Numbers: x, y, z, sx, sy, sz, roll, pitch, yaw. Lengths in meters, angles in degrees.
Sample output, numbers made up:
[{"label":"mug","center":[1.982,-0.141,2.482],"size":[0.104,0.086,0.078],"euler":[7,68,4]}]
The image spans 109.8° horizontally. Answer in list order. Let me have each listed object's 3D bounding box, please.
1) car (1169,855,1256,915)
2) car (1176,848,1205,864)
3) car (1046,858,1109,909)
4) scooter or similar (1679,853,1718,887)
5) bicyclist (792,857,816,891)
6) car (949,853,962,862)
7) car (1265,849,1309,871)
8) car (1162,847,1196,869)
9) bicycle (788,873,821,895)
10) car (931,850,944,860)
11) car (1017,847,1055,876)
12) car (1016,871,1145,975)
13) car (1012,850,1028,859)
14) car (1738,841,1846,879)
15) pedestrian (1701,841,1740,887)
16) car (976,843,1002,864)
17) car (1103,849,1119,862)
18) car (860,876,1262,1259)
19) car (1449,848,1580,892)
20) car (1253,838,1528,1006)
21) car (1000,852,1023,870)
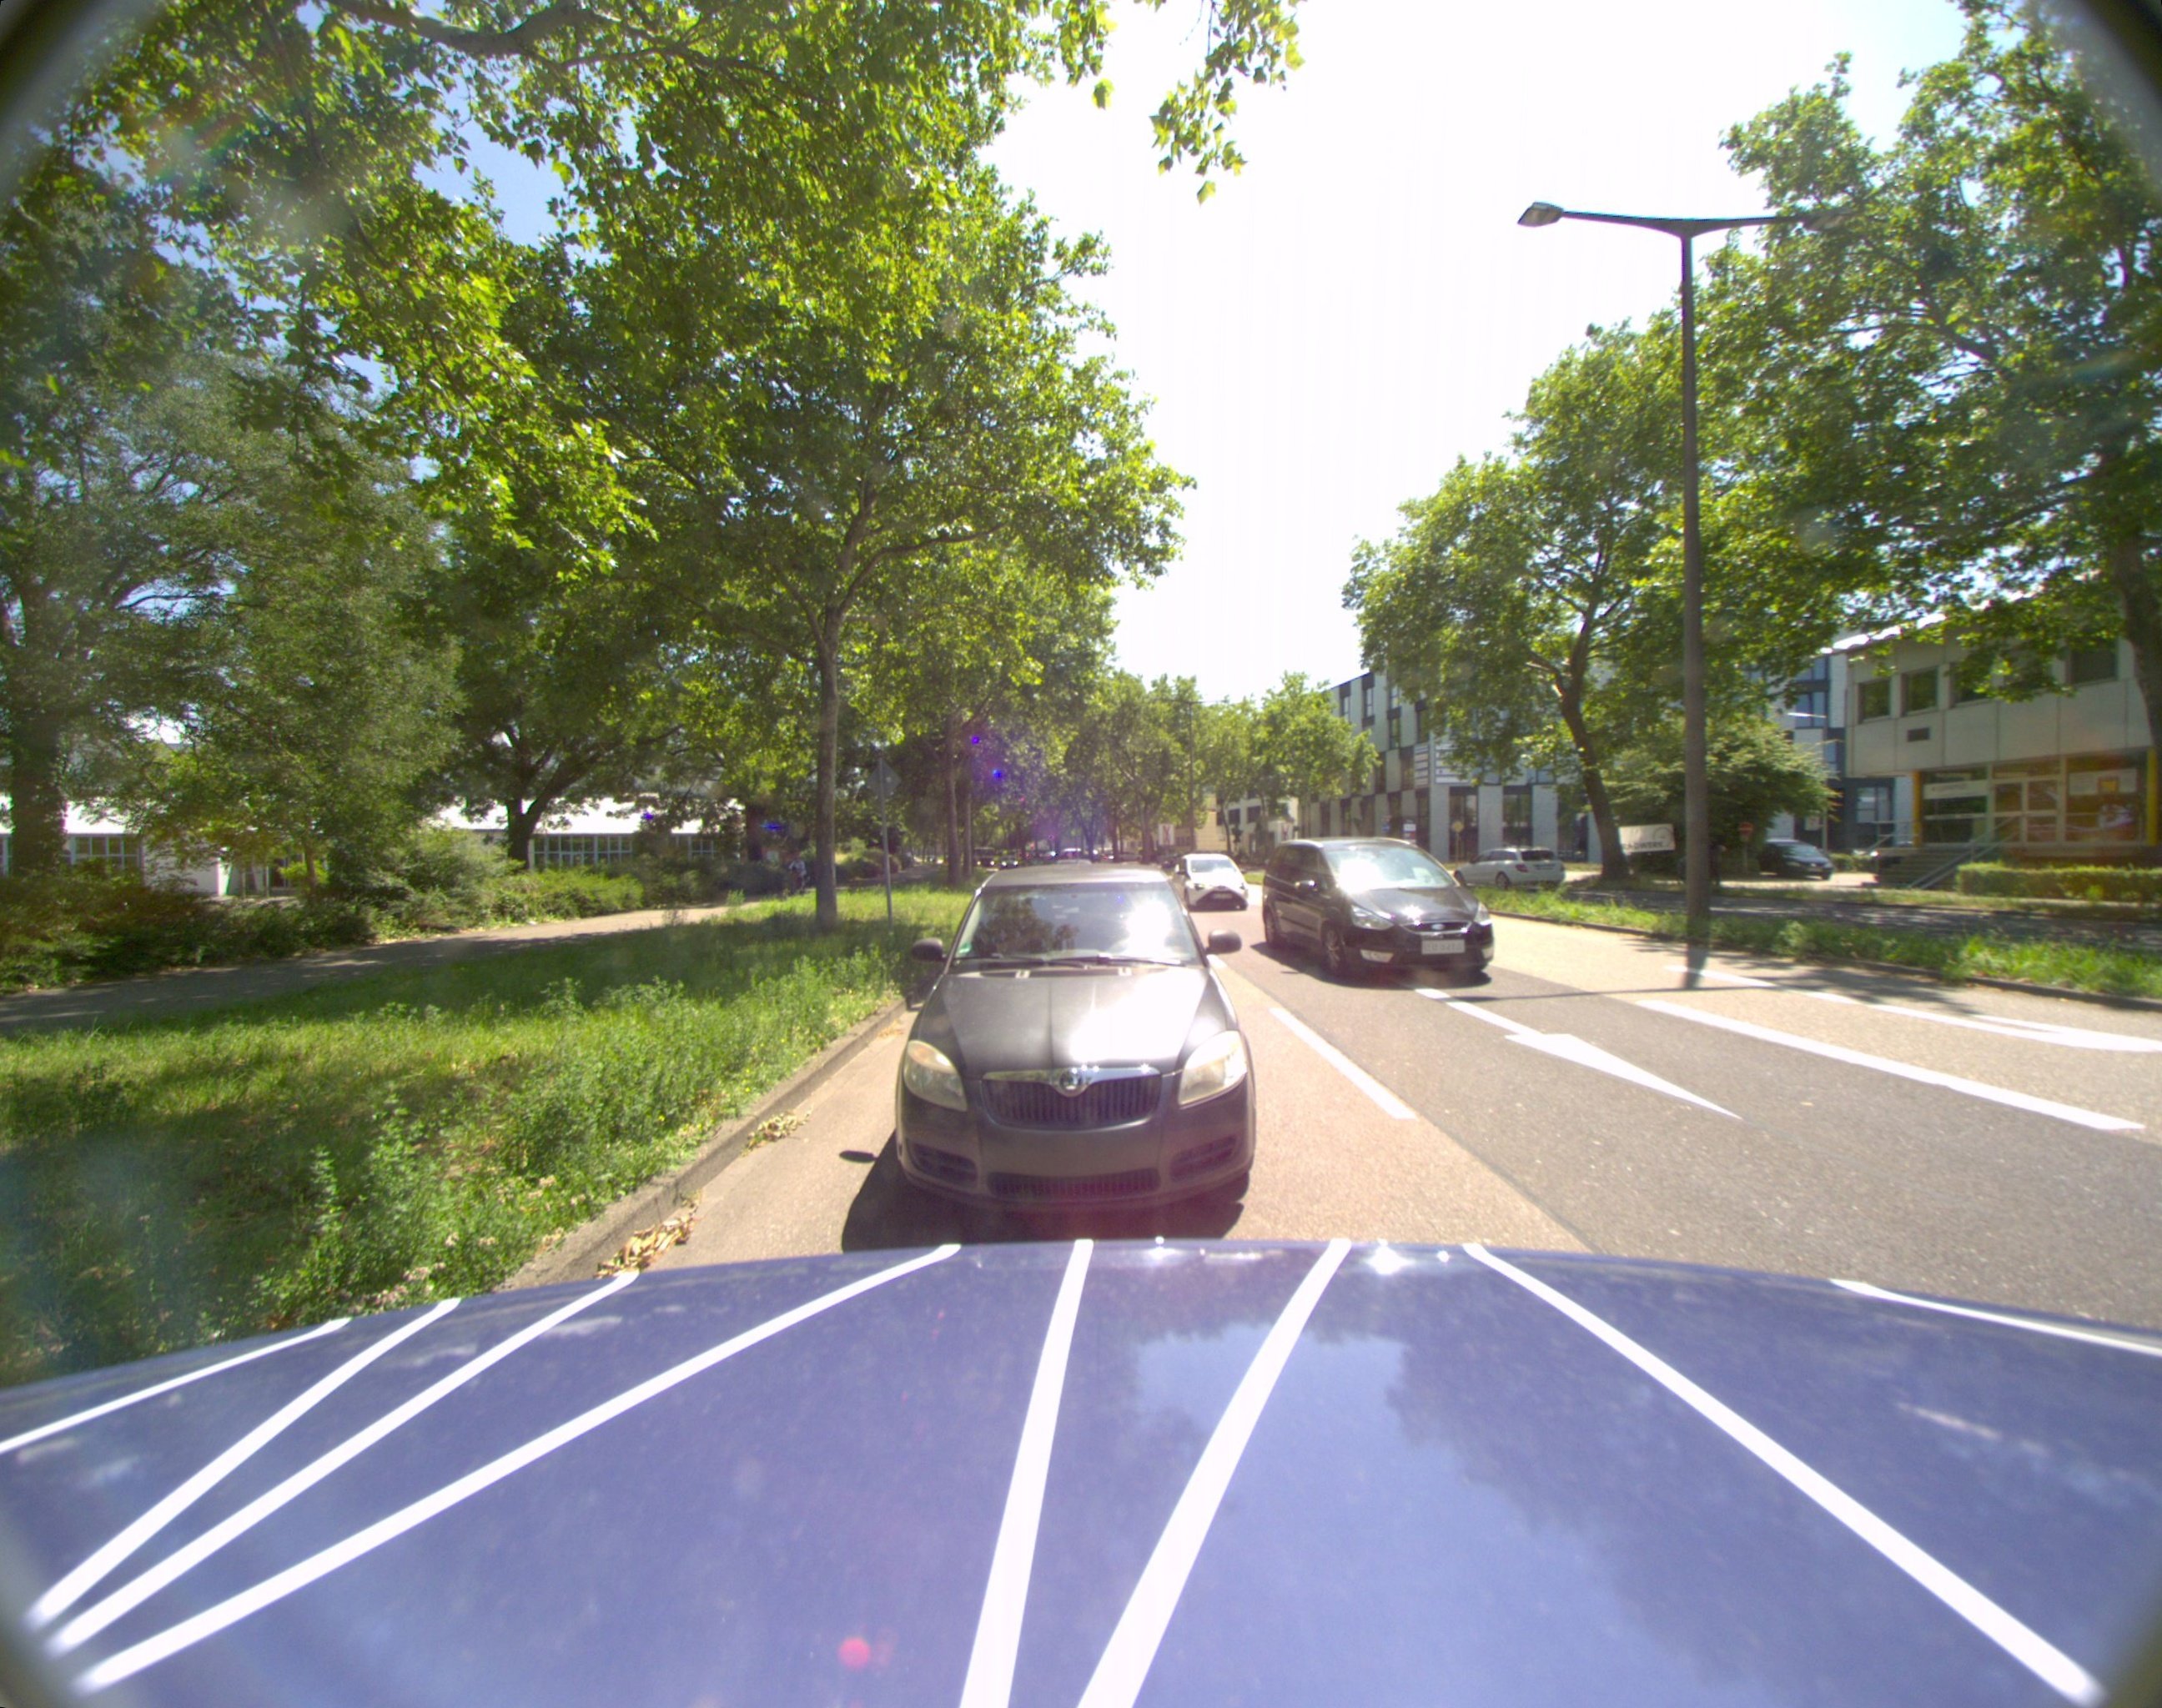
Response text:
[{"label":"car","center":[3.553,0.798,21.125],"size":[1.623,1.437,3.651],"euler":[-2,0,-2]},{"label":"car","center":[10.387,0.157,72.013],"size":[1.757,1.435,3.669],"euler":[-1,0,-8]},{"label":"car","center":[-0.080,0.898,24.886],"size":[1.878,1.448,3.786],"euler":[-2,0,1]},{"label":"scooter or similar","center":[21.811,0.553,26.852],"size":[0.680,1.157,0.859],"euler":[-1,1,-5]},{"label":"bicyclist","center":[-10.804,0.773,29.634],"size":[0.600,1.331,0.666],"euler":[0,1,8]},{"label":"car","center":[-20.602,0.574,124.939],"size":[1.510,1.379,3.422],"euler":[-1,0,-19]},{"label":"car","center":[13.724,0.376,50.837],"size":[1.737,1.450,3.672],"euler":[-1,0,-4]},{"label":"car","center":[7.624,0.264,59.669],"size":[1.954,1.646,4.620],"euler":[-1,0,-2]},{"label":"bicycle","center":[-10.759,1.156,29.604],"size":[0.464,0.760,1.669],"euler":[0,0,9]},{"label":"car","center":[-26.788,0.214,141.941],"size":[2.001,1.827,3.994],"euler":[-1,0,-15]},{"label":"car","center":[-3.119,0.528,52.451],"size":[2.001,1.871,3.996],"euler":[-1,0,-12]},{"label":"car","center":[0.021,1.013,12.601],"size":[1.791,1.325,3.742],"euler":[-2,0,1]},{"label":"car","center":[-11.517,0.152,143.690],"size":[1.957,1.600,3.992],"euler":[-1,0,-21]},{"label":"car","center":[32.816,0.236,35.215],"size":[1.819,1.638,3.528],"euler":[-2,1,4]},{"label":"pedestrian","center":[21.903,0.346,26.026],"size":[0.643,1.551,0.791],"euler":[-1,1,-6]},{"label":"car","center":[-12.299,-0.074,101.004],"size":[2.920,2.639,6.359],"euler":[-1,0,-11]},{"label":"car","center":[3.616,0.167,92.955],"size":[1.537,1.519,2.852],"euler":[-1,0,-6]},{"label":"car","center":[-0.058,0.955,5.121],"size":[1.654,1.453,3.865],"euler":[-1,0,1]},{"label":"car","center":[15.067,0.506,26.720],"size":[1.858,1.410,4.546],"euler":[-1,0,-3]},{"label":"car","center":[3.819,0.714,10.412],"size":[1.859,1.745,4.648],"euler":[-1,0,0]},{"label":"car","center":[-7.089,0.662,77.068],"size":[2.000,1.783,3.997],"euler":[-1,0,-9]}]
